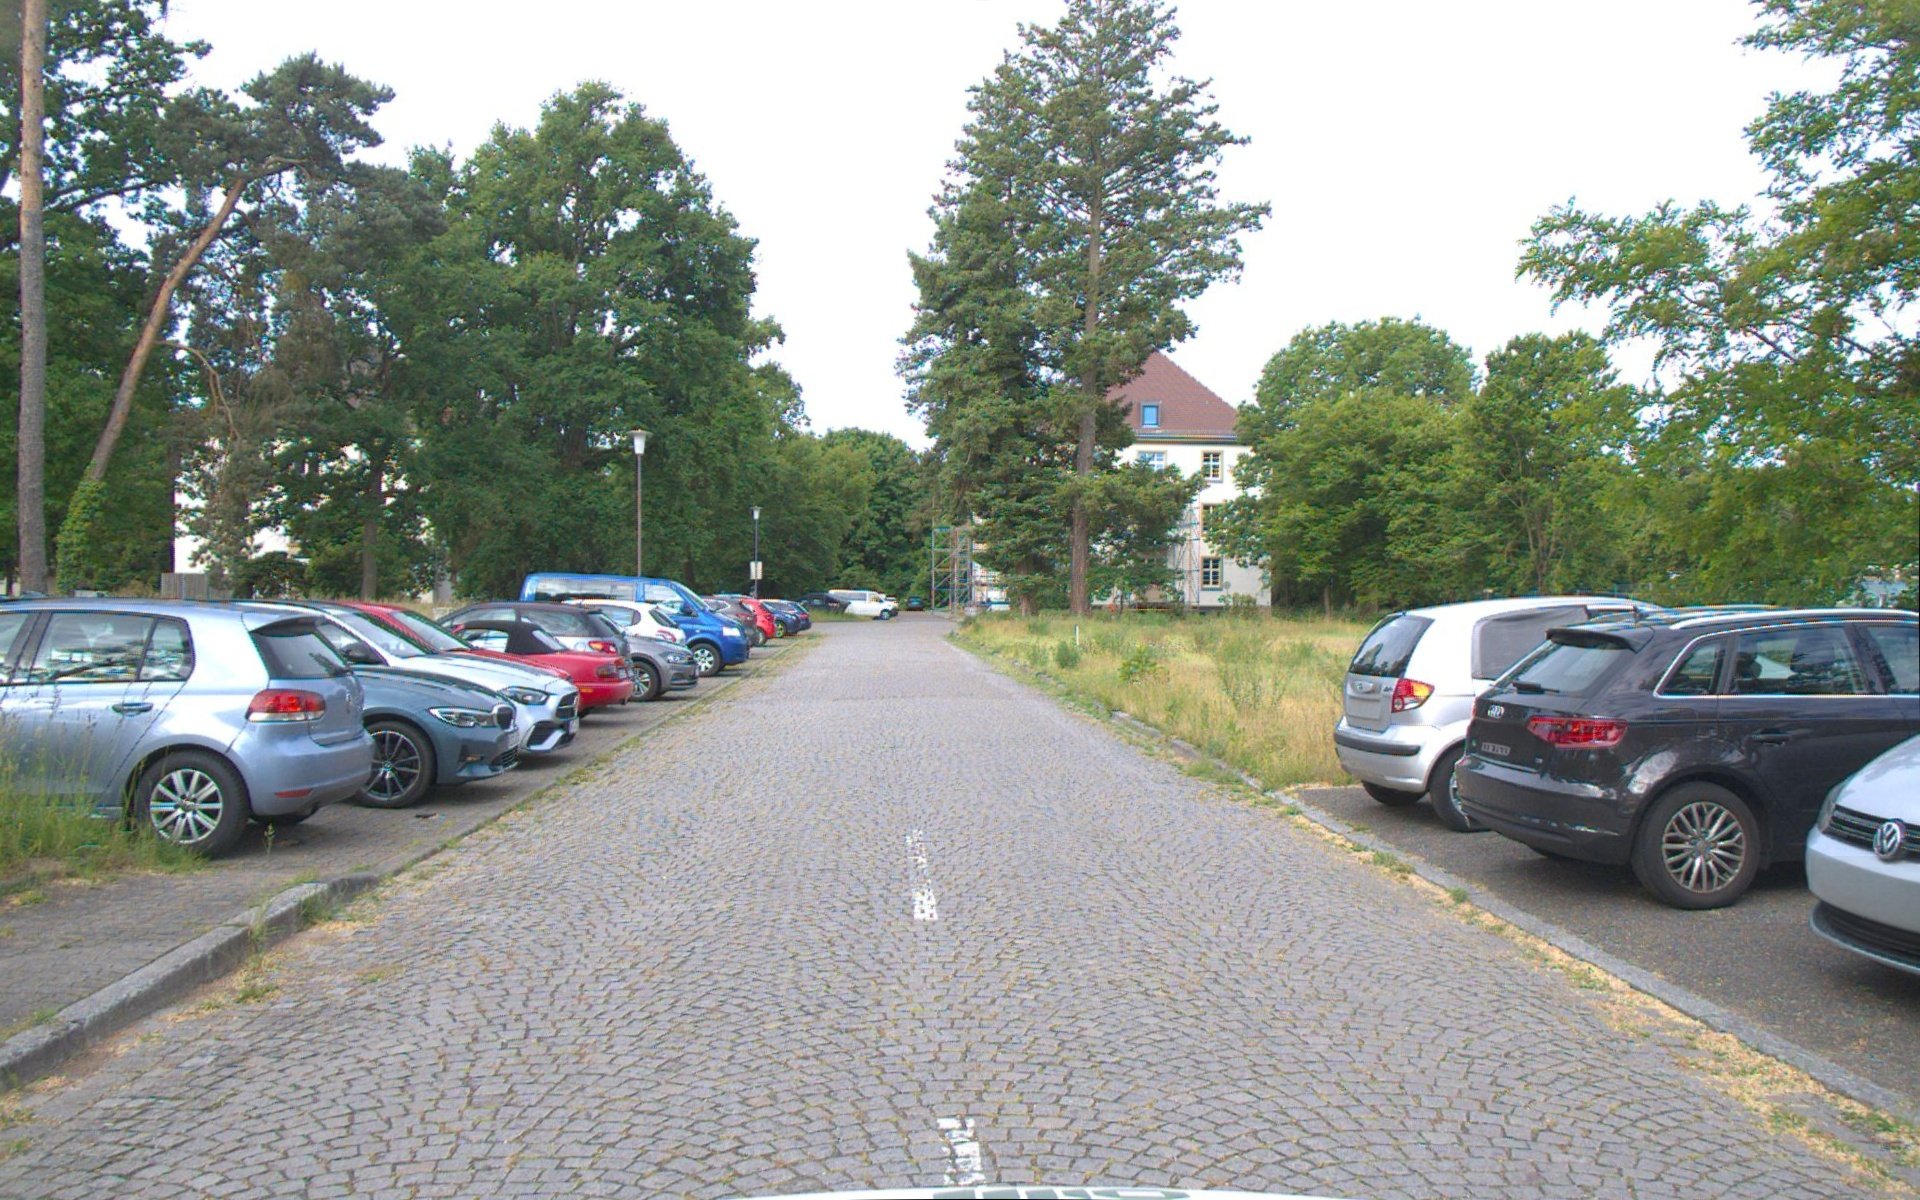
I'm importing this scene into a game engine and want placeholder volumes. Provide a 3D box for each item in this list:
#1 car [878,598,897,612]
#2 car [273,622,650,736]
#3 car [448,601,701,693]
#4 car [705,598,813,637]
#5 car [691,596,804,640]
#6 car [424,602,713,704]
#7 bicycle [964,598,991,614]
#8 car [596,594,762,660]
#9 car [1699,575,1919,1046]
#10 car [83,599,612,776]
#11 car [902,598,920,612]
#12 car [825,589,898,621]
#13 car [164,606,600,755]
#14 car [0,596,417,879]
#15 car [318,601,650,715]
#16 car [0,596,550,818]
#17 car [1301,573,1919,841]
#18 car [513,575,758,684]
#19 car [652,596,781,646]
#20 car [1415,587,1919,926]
[{"bbox_3d":[-8.053,0.581,183.092,2.077,1.548,3.997,0,0,-4],"label":"car"},{"bbox_3d":[-5.996,0.933,20.282,4.082,1.289,1.830,0,0,-2],"label":"car"},{"bbox_3d":[-6.607,0.786,28.679,3.986,1.523,1.845,0,0,-2],"label":"car"},{"bbox_3d":[-8.232,0.723,68.145,4.216,1.486,1.974,1,0,-2],"label":"car"},{"bbox_3d":[-8.107,0.681,63.450,4.145,1.604,1.885,1,0,-5],"label":"car"},{"bbox_3d":[-6.019,0.798,25.789,4.082,1.517,1.864,0,0,-2],"label":"car"},{"bbox_3d":[1.403,0.515,134.806,2.195,1.276,0.777,0,0,-1],"label":"bicycle"},{"bbox_3d":[-7.209,0.682,42.835,4.085,1.650,1.984,0,0,-6],"label":"car"},{"bbox_3d":[5.359,0.650,6.390,4.159,1.624,1.882,-3,0,-7],"label":"car"},{"bbox_3d":[-5.583,0.764,15.578,4.289,1.534,1.933,0,0,-5],"label":"car"},{"bbox_3d":[-5.447,0.569,183.539,1.913,1.548,3.996,0,0,-4],"label":"car"},{"bbox_3d":[-6.971,0.371,117.090,5.133,2.206,1.998,0,0,-6],"label":"car"},{"bbox_3d":[-6.111,0.823,17.900,4.083,1.502,1.863,0,0,-4],"label":"car"},{"bbox_3d":[-5.579,0.764,10.151,3.908,1.570,1.904,0,0,-4],"label":"car"},{"bbox_3d":[-6.490,0.770,22.912,4.082,1.508,1.845,0,0,-2],"label":"car"},{"bbox_3d":[-5.460,0.757,12.871,4.169,1.575,1.933,0,0,-7],"label":"car"},{"bbox_3d":[4.667,0.681,11.782,3.995,1.541,1.802,-3,0,-6],"label":"car"},{"bbox_3d":[-6.580,0.586,33.980,4.687,2.159,2.113,0,0,-4],"label":"car"},{"bbox_3d":[-7.795,0.654,53.184,3.975,1.552,1.903,0,0,-5],"label":"car"},{"bbox_3d":[4.798,0.723,9.077,3.995,1.478,1.883,-3,0,-6],"label":"car"}]
